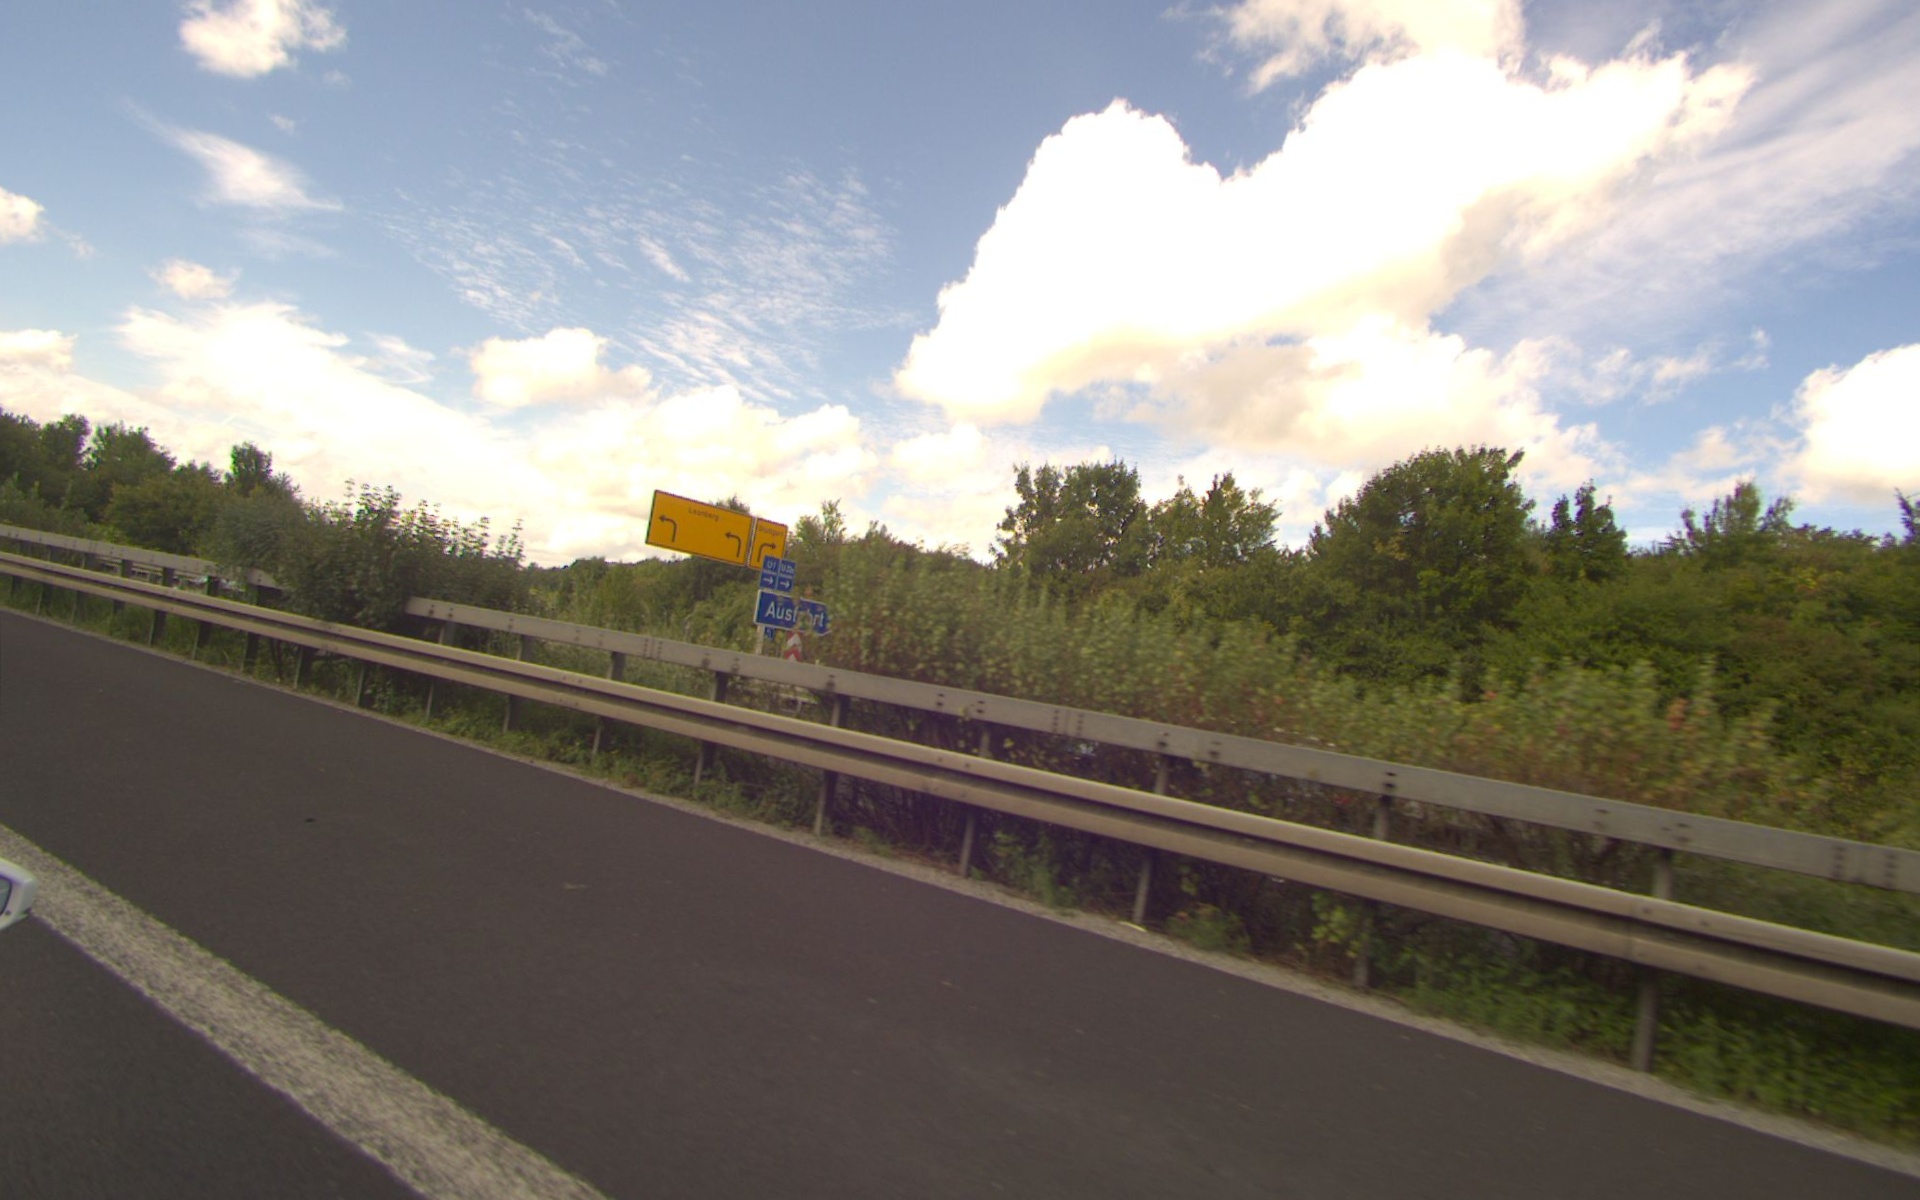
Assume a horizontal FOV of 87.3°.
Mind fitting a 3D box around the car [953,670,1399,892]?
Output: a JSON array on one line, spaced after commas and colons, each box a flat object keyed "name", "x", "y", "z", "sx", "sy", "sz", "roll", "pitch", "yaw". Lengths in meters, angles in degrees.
[{"name": "car", "x": 2.418, "y": 1.921, "z": 11.660, "sx": 4.598, "sy": 1.536, "sz": 1.788, "roll": 6, "pitch": -2, "yaw": 31}]
